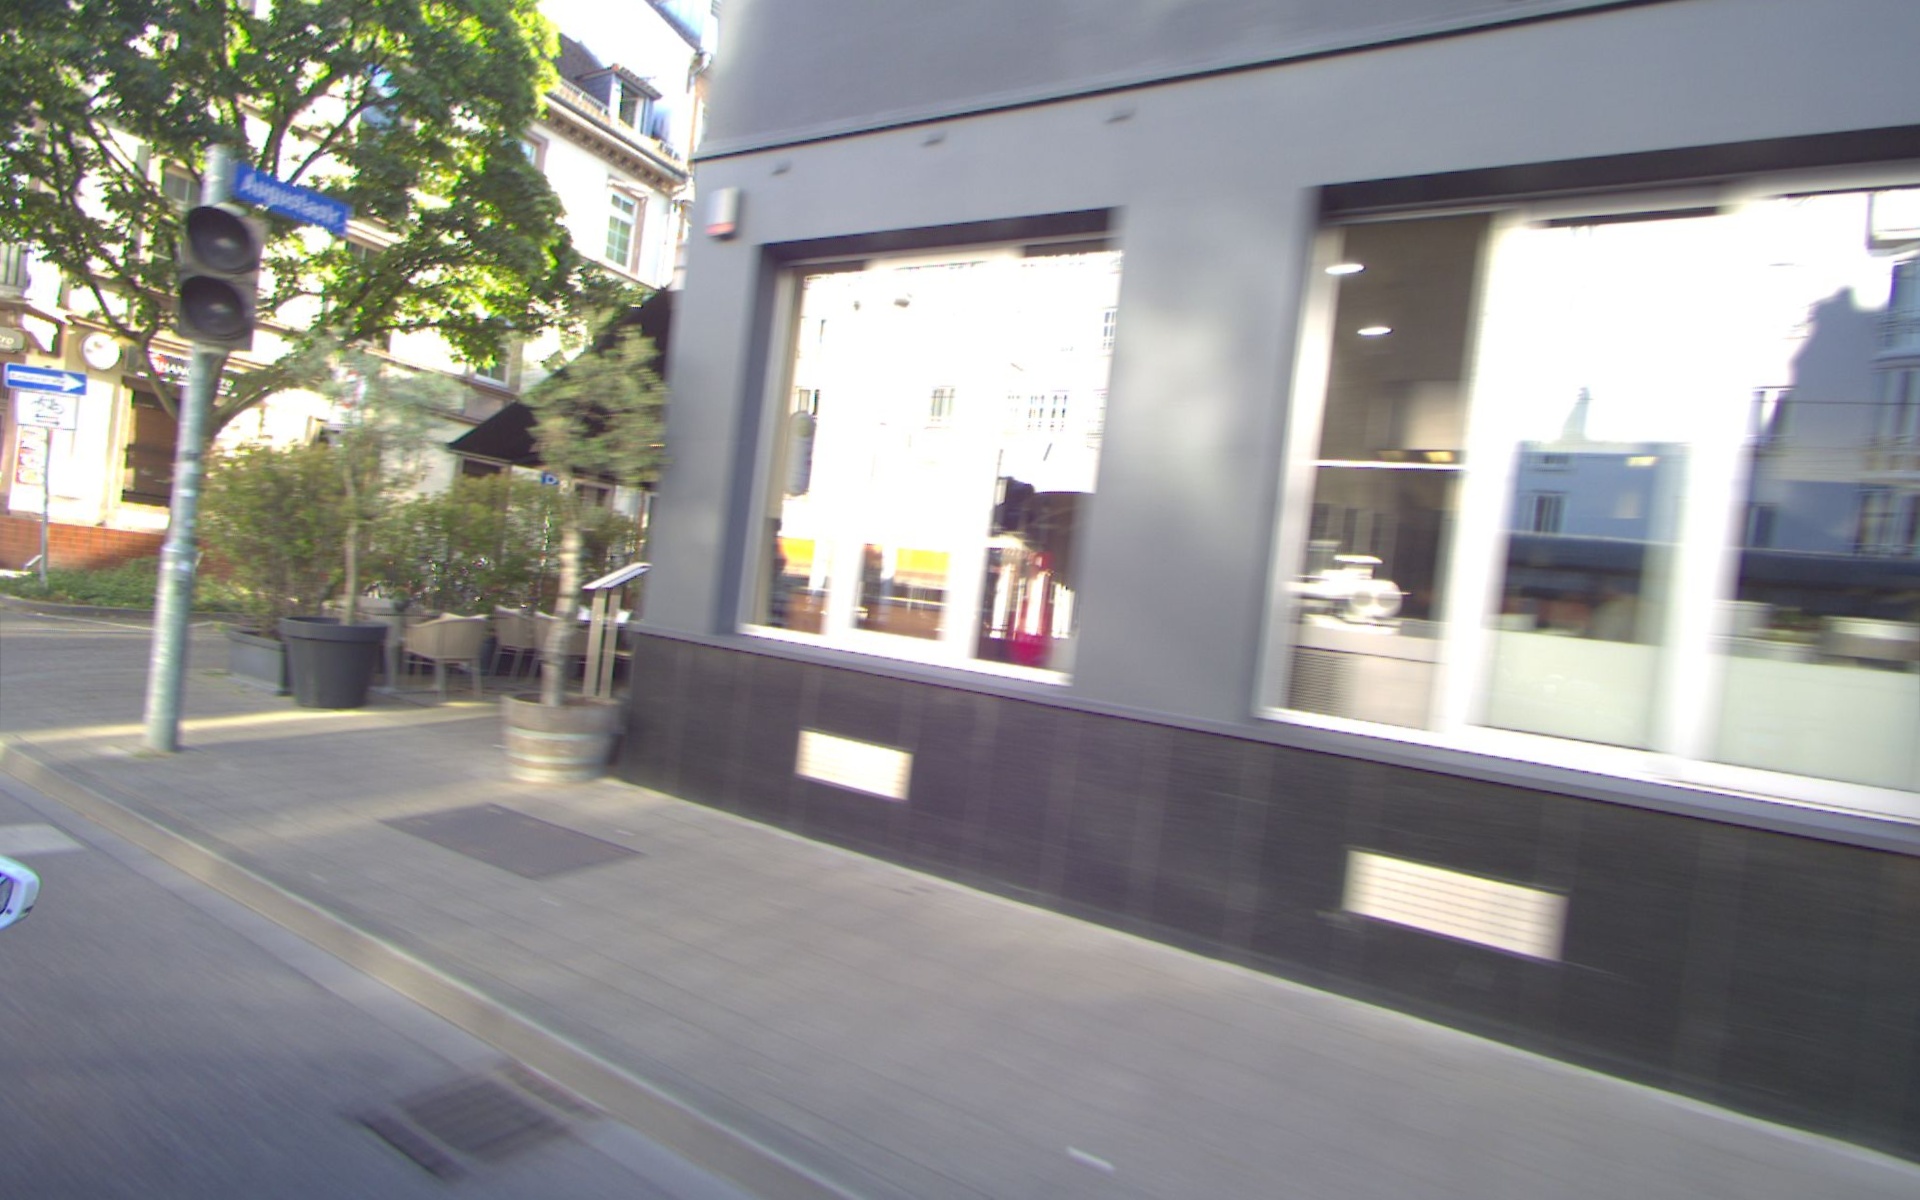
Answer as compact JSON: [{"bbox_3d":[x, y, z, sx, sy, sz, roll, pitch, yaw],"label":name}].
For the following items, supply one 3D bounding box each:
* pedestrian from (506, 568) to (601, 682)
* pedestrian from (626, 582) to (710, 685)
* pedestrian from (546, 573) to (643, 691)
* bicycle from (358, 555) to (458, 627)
[{"bbox_3d":[-4.694,0.296,11.630,0.639,1.219,0.649,8,1,31],"label":"pedestrian"},{"bbox_3d":[-3.741,0.439,12.898,0.639,1.219,0.649,8,1,31],"label":"pedestrian"},{"bbox_3d":[-4.099,0.362,11.282,0.639,1.219,0.649,8,1,31],"label":"pedestrian"},{"bbox_3d":[-9.228,-0.136,16.849,1.315,1.027,0.453,8,1,-40],"label":"bicycle"}]
